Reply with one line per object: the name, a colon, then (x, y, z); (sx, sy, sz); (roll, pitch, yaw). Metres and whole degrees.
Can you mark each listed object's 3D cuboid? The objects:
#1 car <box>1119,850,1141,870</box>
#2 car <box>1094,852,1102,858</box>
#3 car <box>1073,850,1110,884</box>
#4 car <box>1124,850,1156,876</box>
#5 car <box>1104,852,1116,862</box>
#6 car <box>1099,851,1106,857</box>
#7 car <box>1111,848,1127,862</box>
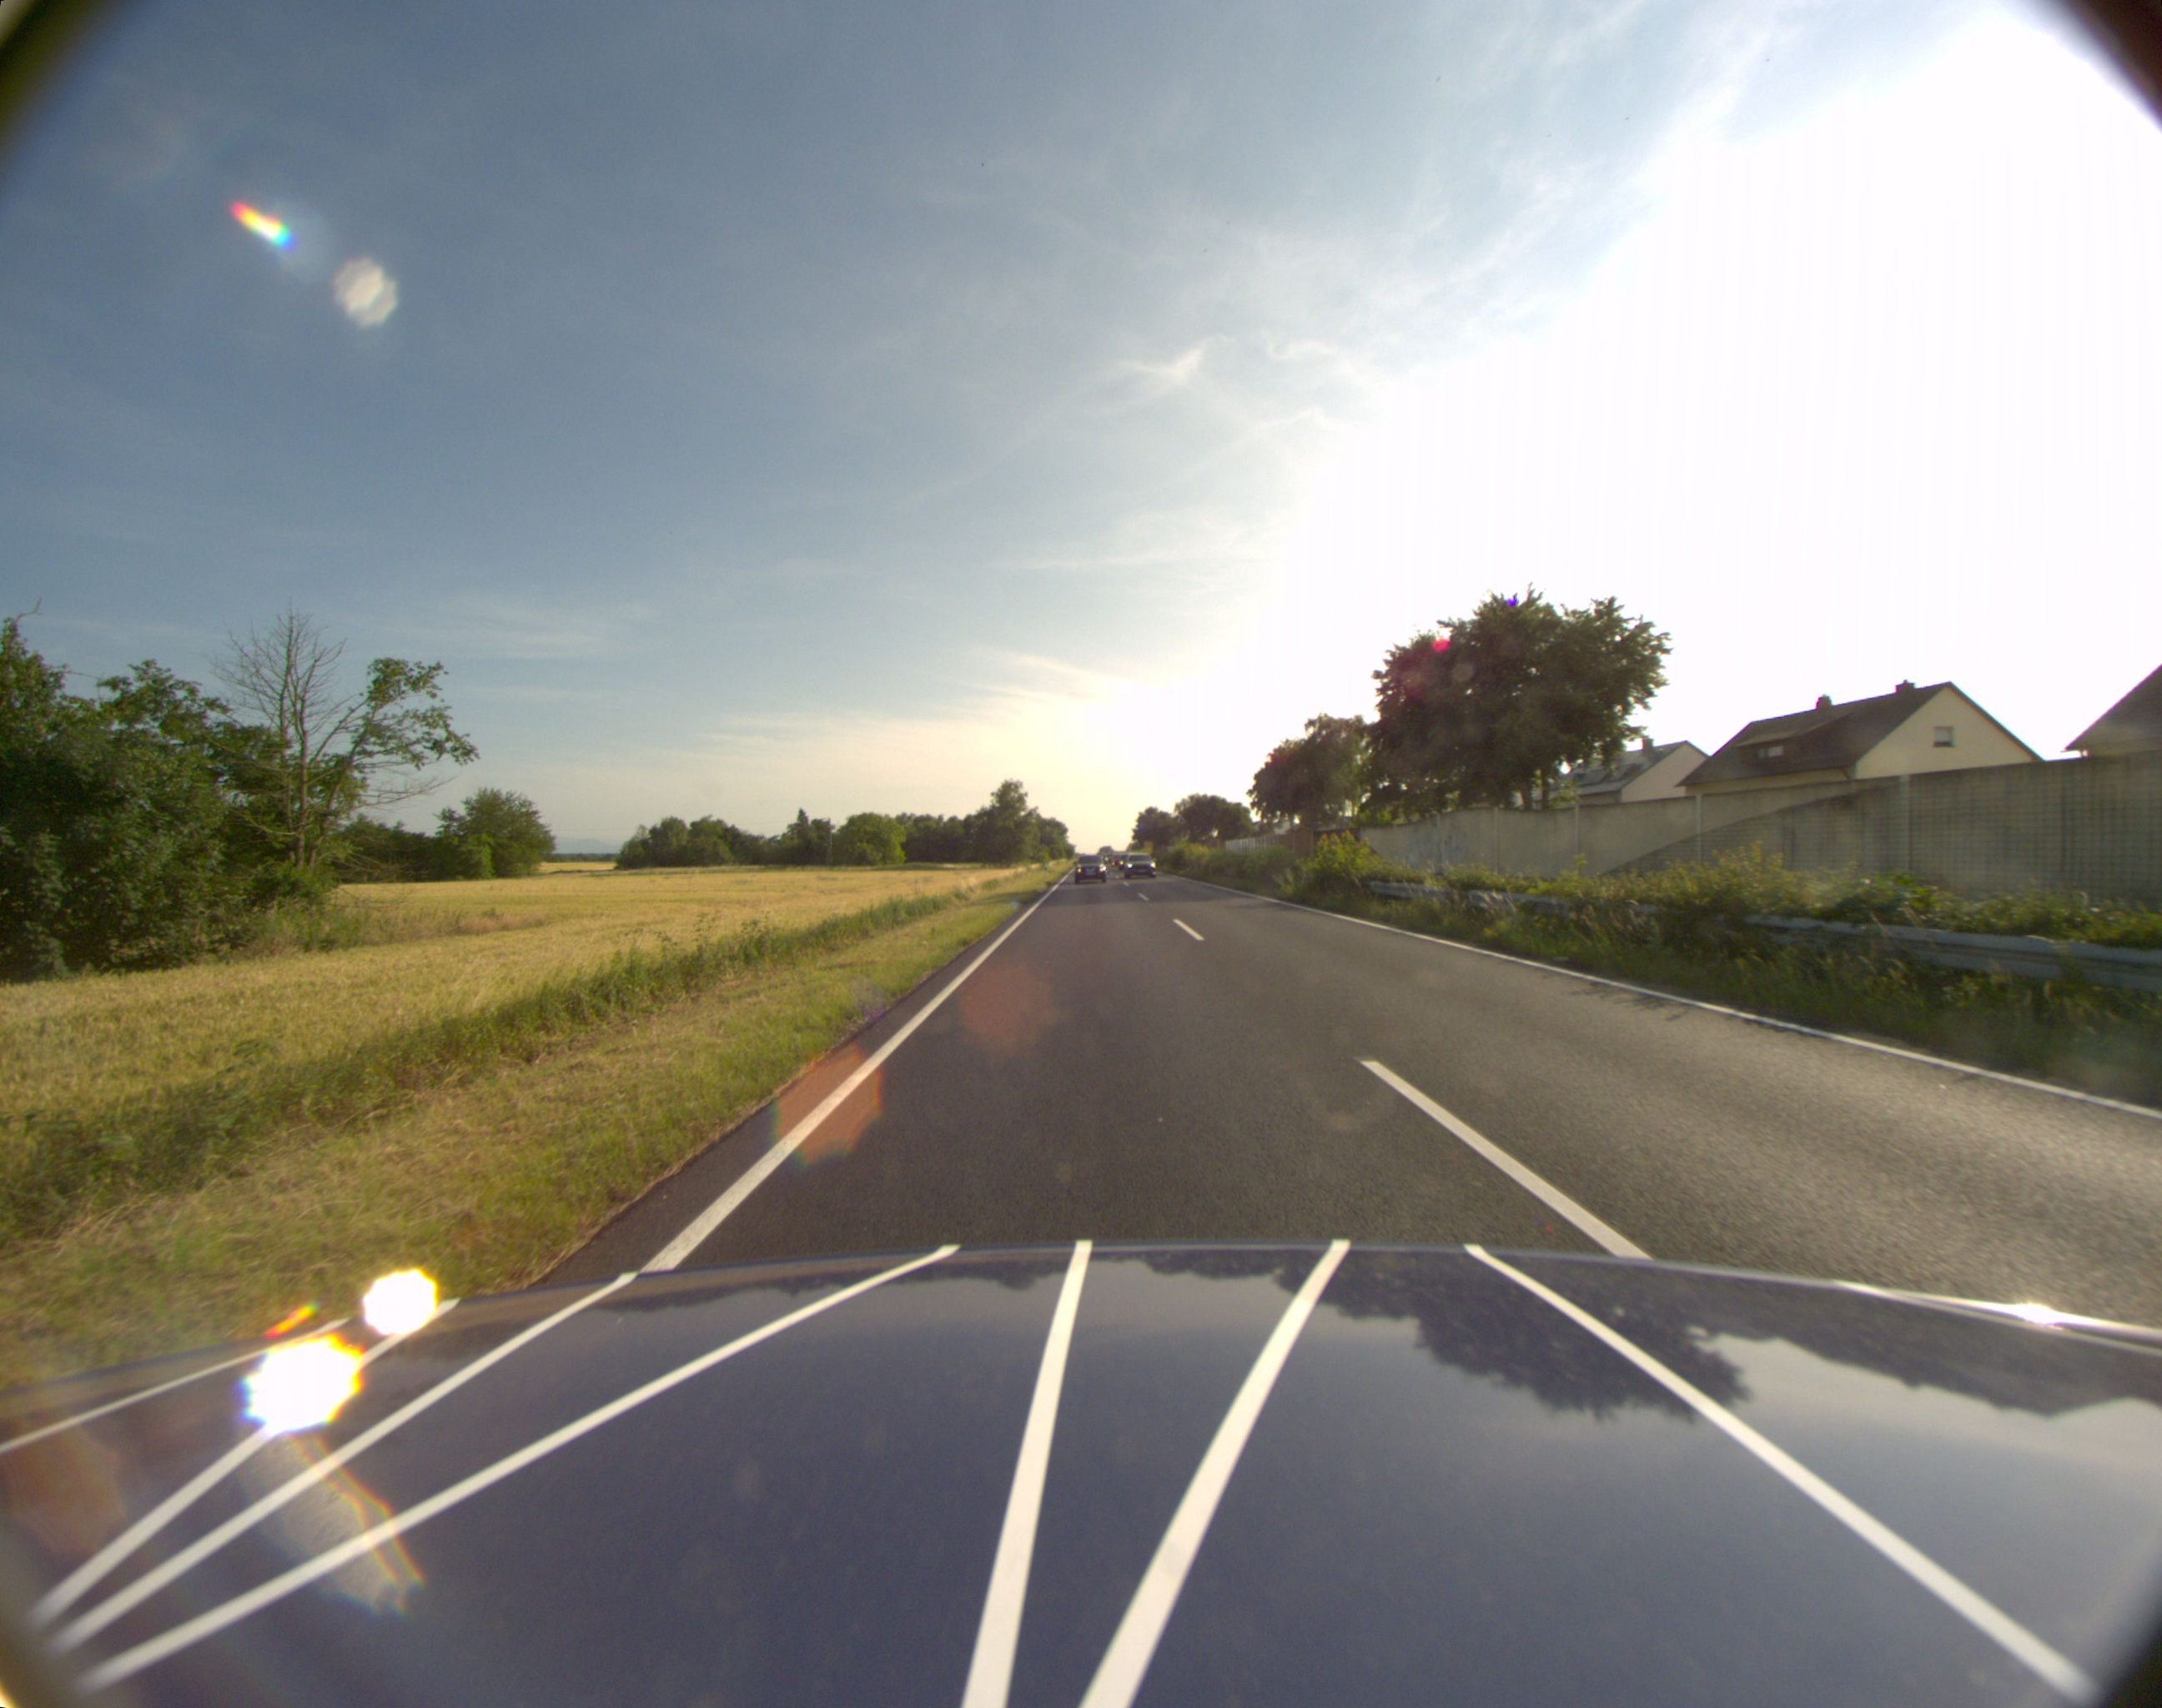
car: (4.551, 0.562, 70.516); (1.822, 1.724, 4.000); (-2, 1, 2)
car: (4.636, 0.224, 207.171); (1.854, 1.641, 3.999); (-2, 1, 0)
car: (0.582, 0.649, 41.375); (1.822, 1.661, 4.000); (-2, 1, 1)
car: (3.770, 0.536, 49.044); (1.821, 1.516, 4.246); (-2, 1, 1)
car: (4.486, 0.489, 118.732); (1.700, 1.456, 3.646); (-2, 1, 1)
car: (5.131, -0.077, 181.100); (1.693, 1.397, 4.000); (-2, 1, 1)
car: (4.652, 0.128, 93.114); (1.822, 1.661, 4.000); (-2, 1, 1)
